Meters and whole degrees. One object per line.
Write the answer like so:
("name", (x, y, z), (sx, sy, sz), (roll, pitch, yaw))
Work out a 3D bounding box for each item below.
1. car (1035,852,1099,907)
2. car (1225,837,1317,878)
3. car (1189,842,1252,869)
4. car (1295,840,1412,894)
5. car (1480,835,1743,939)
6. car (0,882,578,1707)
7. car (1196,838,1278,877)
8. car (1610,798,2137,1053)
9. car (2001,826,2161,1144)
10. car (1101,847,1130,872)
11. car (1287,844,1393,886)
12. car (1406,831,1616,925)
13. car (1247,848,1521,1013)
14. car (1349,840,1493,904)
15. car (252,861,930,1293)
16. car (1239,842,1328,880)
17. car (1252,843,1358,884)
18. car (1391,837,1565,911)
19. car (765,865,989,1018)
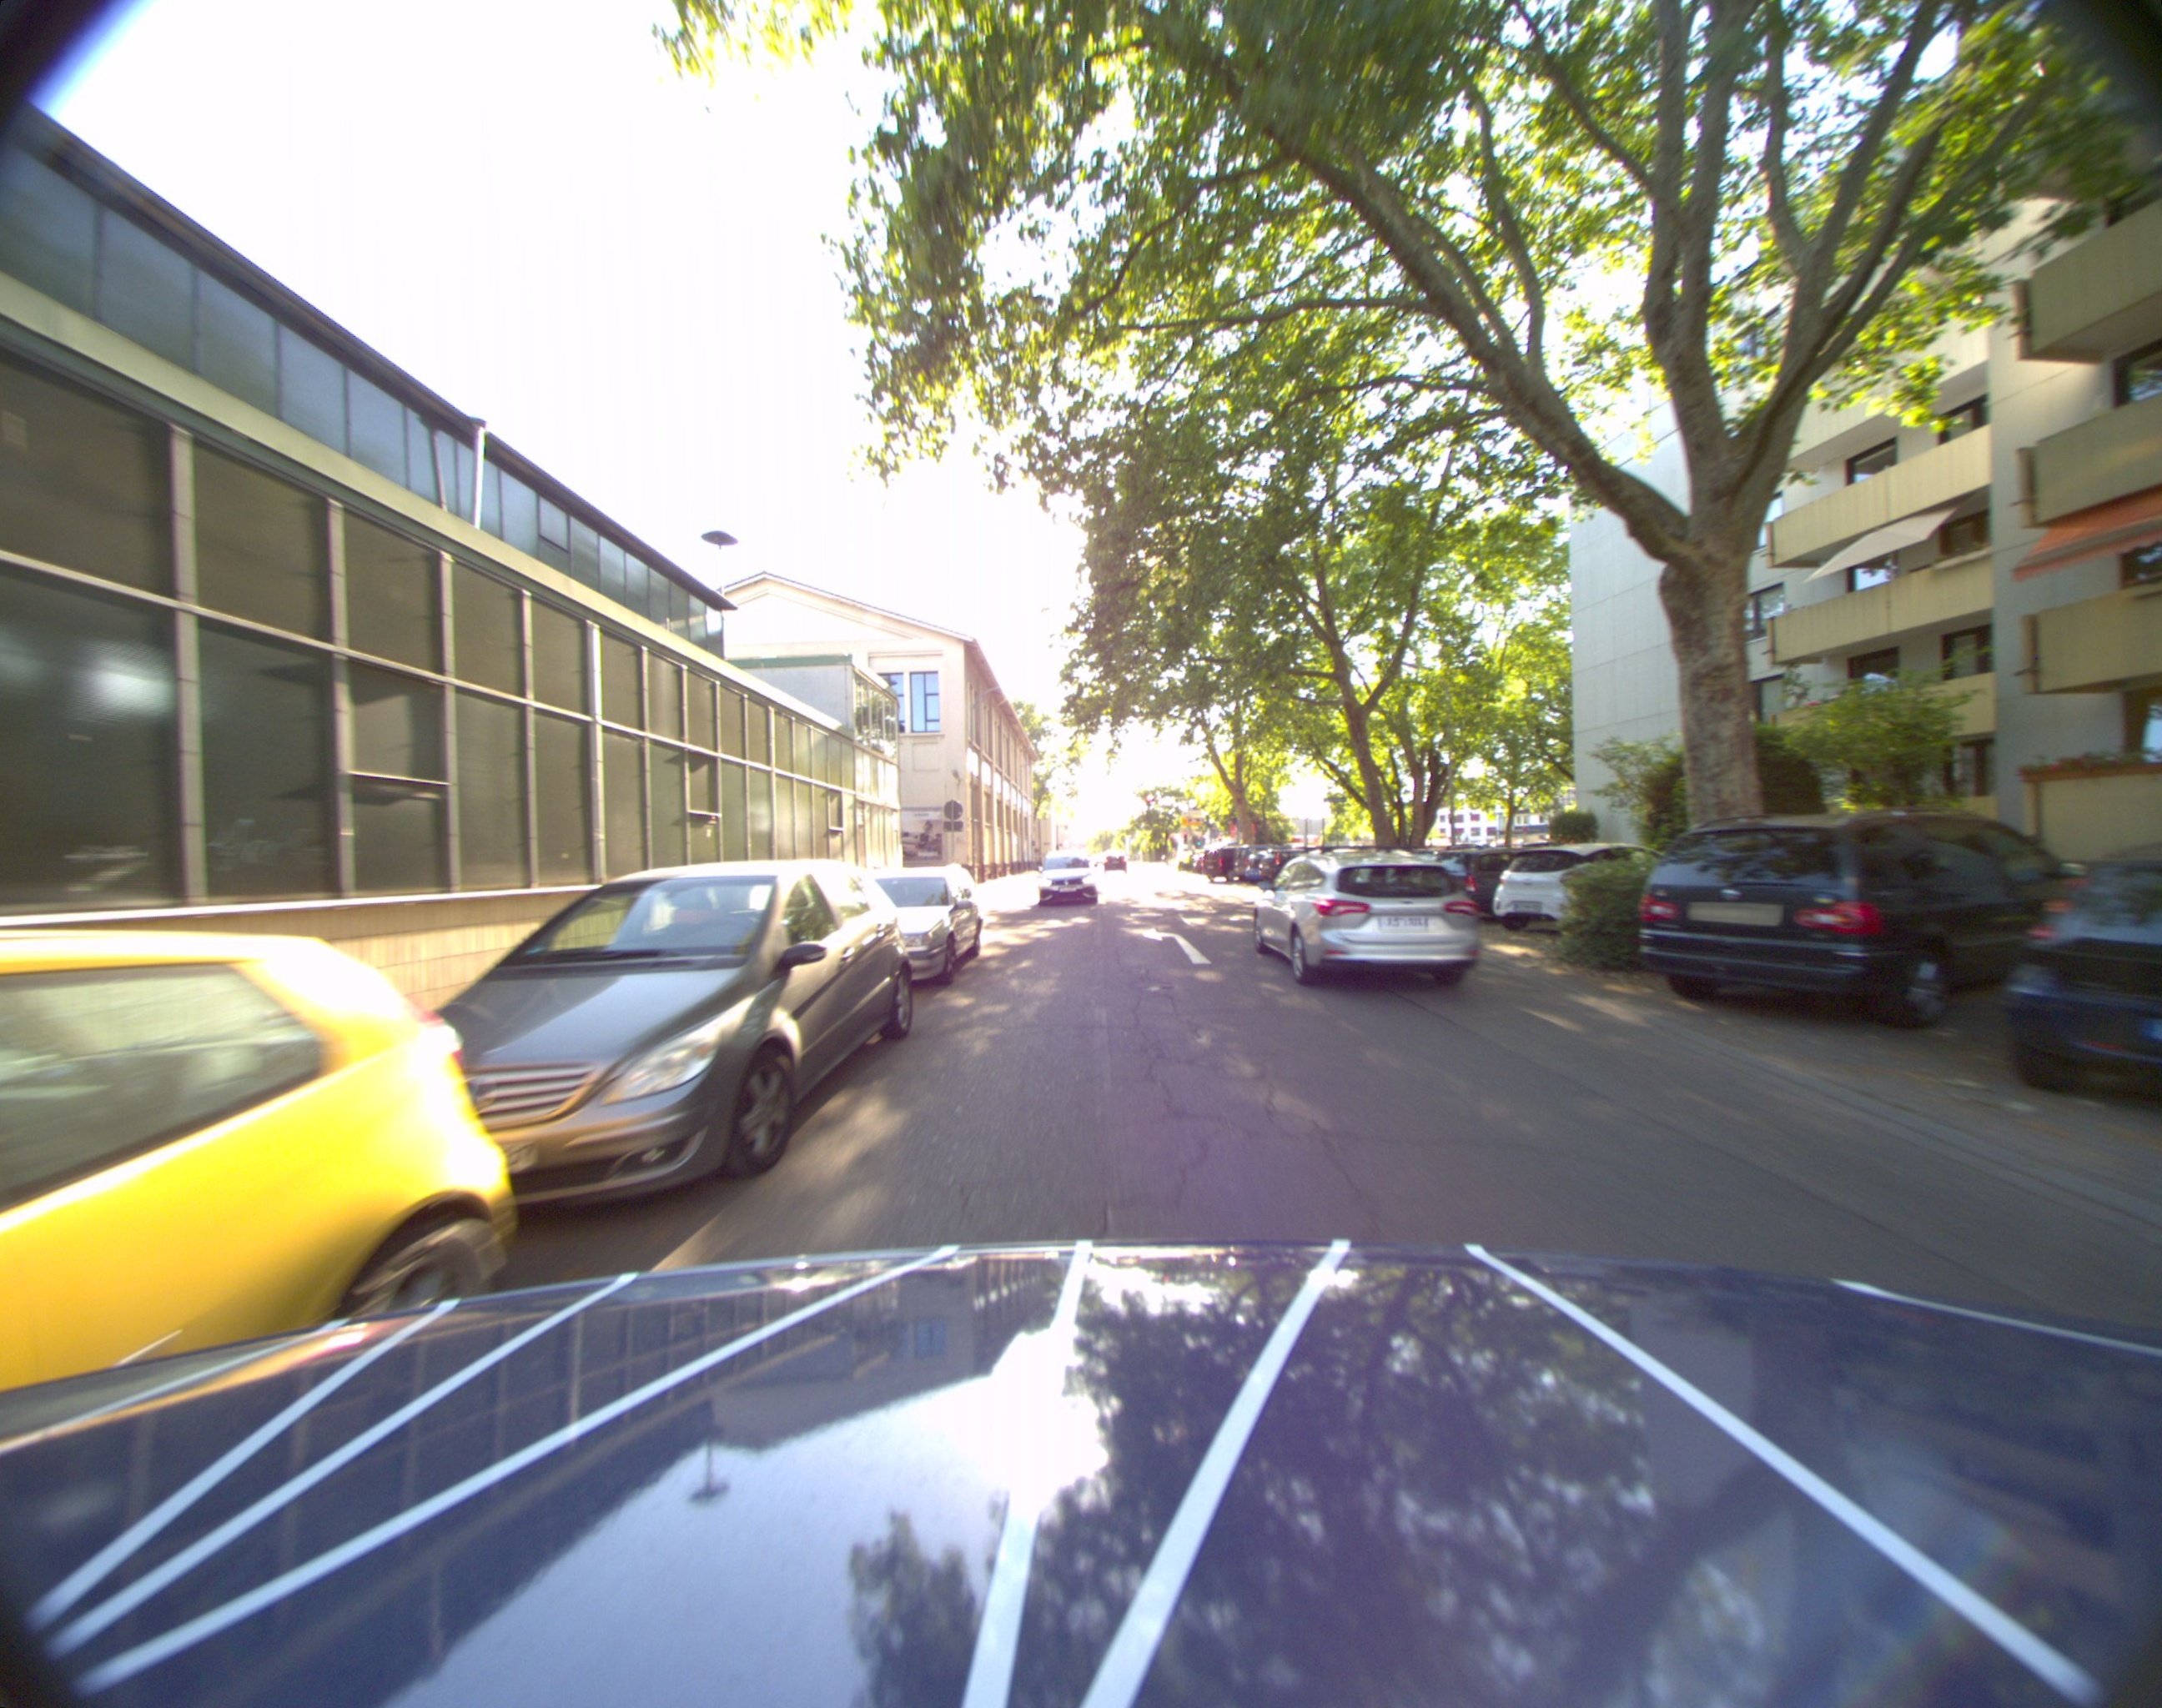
("car", (-0.463, 0.767, 24.644), (1.854, 1.527, 3.856), (-3, 1, -1))
("car", (9.454, 0.161, 37.889), (4.002, 1.871, 1.831), (-2, 1, -15))
("car", (9.381, 0.123, 51.084), (4.006, 1.633, 1.713), (-3, 1, -33))
("car", (9.427, 0.417, 26.298), (3.654, 1.652, 1.647), (-3, 1, -25))
("car", (9.047, 0.511, 13.038), (3.663, 1.485, 1.774), (-2, 0, -17))
("car", (-2.705, 0.963, 0.734), (1.755, 1.625, 4.000), (-2, 1, -1))
("car", (8.311, 0.161, 40.444), (4.005, 1.875, 1.713), (-3, 1, -25))
("car", (7.336, 0.456, 7.058), (4.273, 1.765, 1.903), (-2, 1, -22))
("car", (7.203, 0.609, 4.248), (3.654, 1.552, 1.697), (-3, 1, -24))
("car", (2.461, 0.369, 55.604), (1.965, 1.633, 4.000), (-2, 1, 1))
("car", (10.178, 0.405, 29.865), (3.653, 1.453, 1.703), (-2, 1, -20))
("car", (8.765, 0.439, 15.546), (3.652, 1.652, 1.647), (-2, 1, -17))
("car", (3.366, 0.710, 9.517), (1.904, 1.527, 4.623), (1, 0, 5))
("car", (9.555, 0.472, 21.327), (3.654, 1.552, 1.706), (-3, 1, -26))
("car", (-2.420, 0.933, 5.243), (1.755, 1.625, 4.309), (-2, 1, 1))
("car", (9.306, 0.319, 34.986), (3.602, 1.552, 1.647), (-2, 1, -17))
("car", (9.605, 0.390, 32.643), (4.001, 1.615, 1.796), (-1, 1, -13))
("car", (9.702, 0.446, 18.626), (3.652, 1.552, 1.647), (-2, 1, -17))
("car", (-2.502, 0.990, 10.565), (1.905, 1.485, 4.528), (-2, 1, -1))
